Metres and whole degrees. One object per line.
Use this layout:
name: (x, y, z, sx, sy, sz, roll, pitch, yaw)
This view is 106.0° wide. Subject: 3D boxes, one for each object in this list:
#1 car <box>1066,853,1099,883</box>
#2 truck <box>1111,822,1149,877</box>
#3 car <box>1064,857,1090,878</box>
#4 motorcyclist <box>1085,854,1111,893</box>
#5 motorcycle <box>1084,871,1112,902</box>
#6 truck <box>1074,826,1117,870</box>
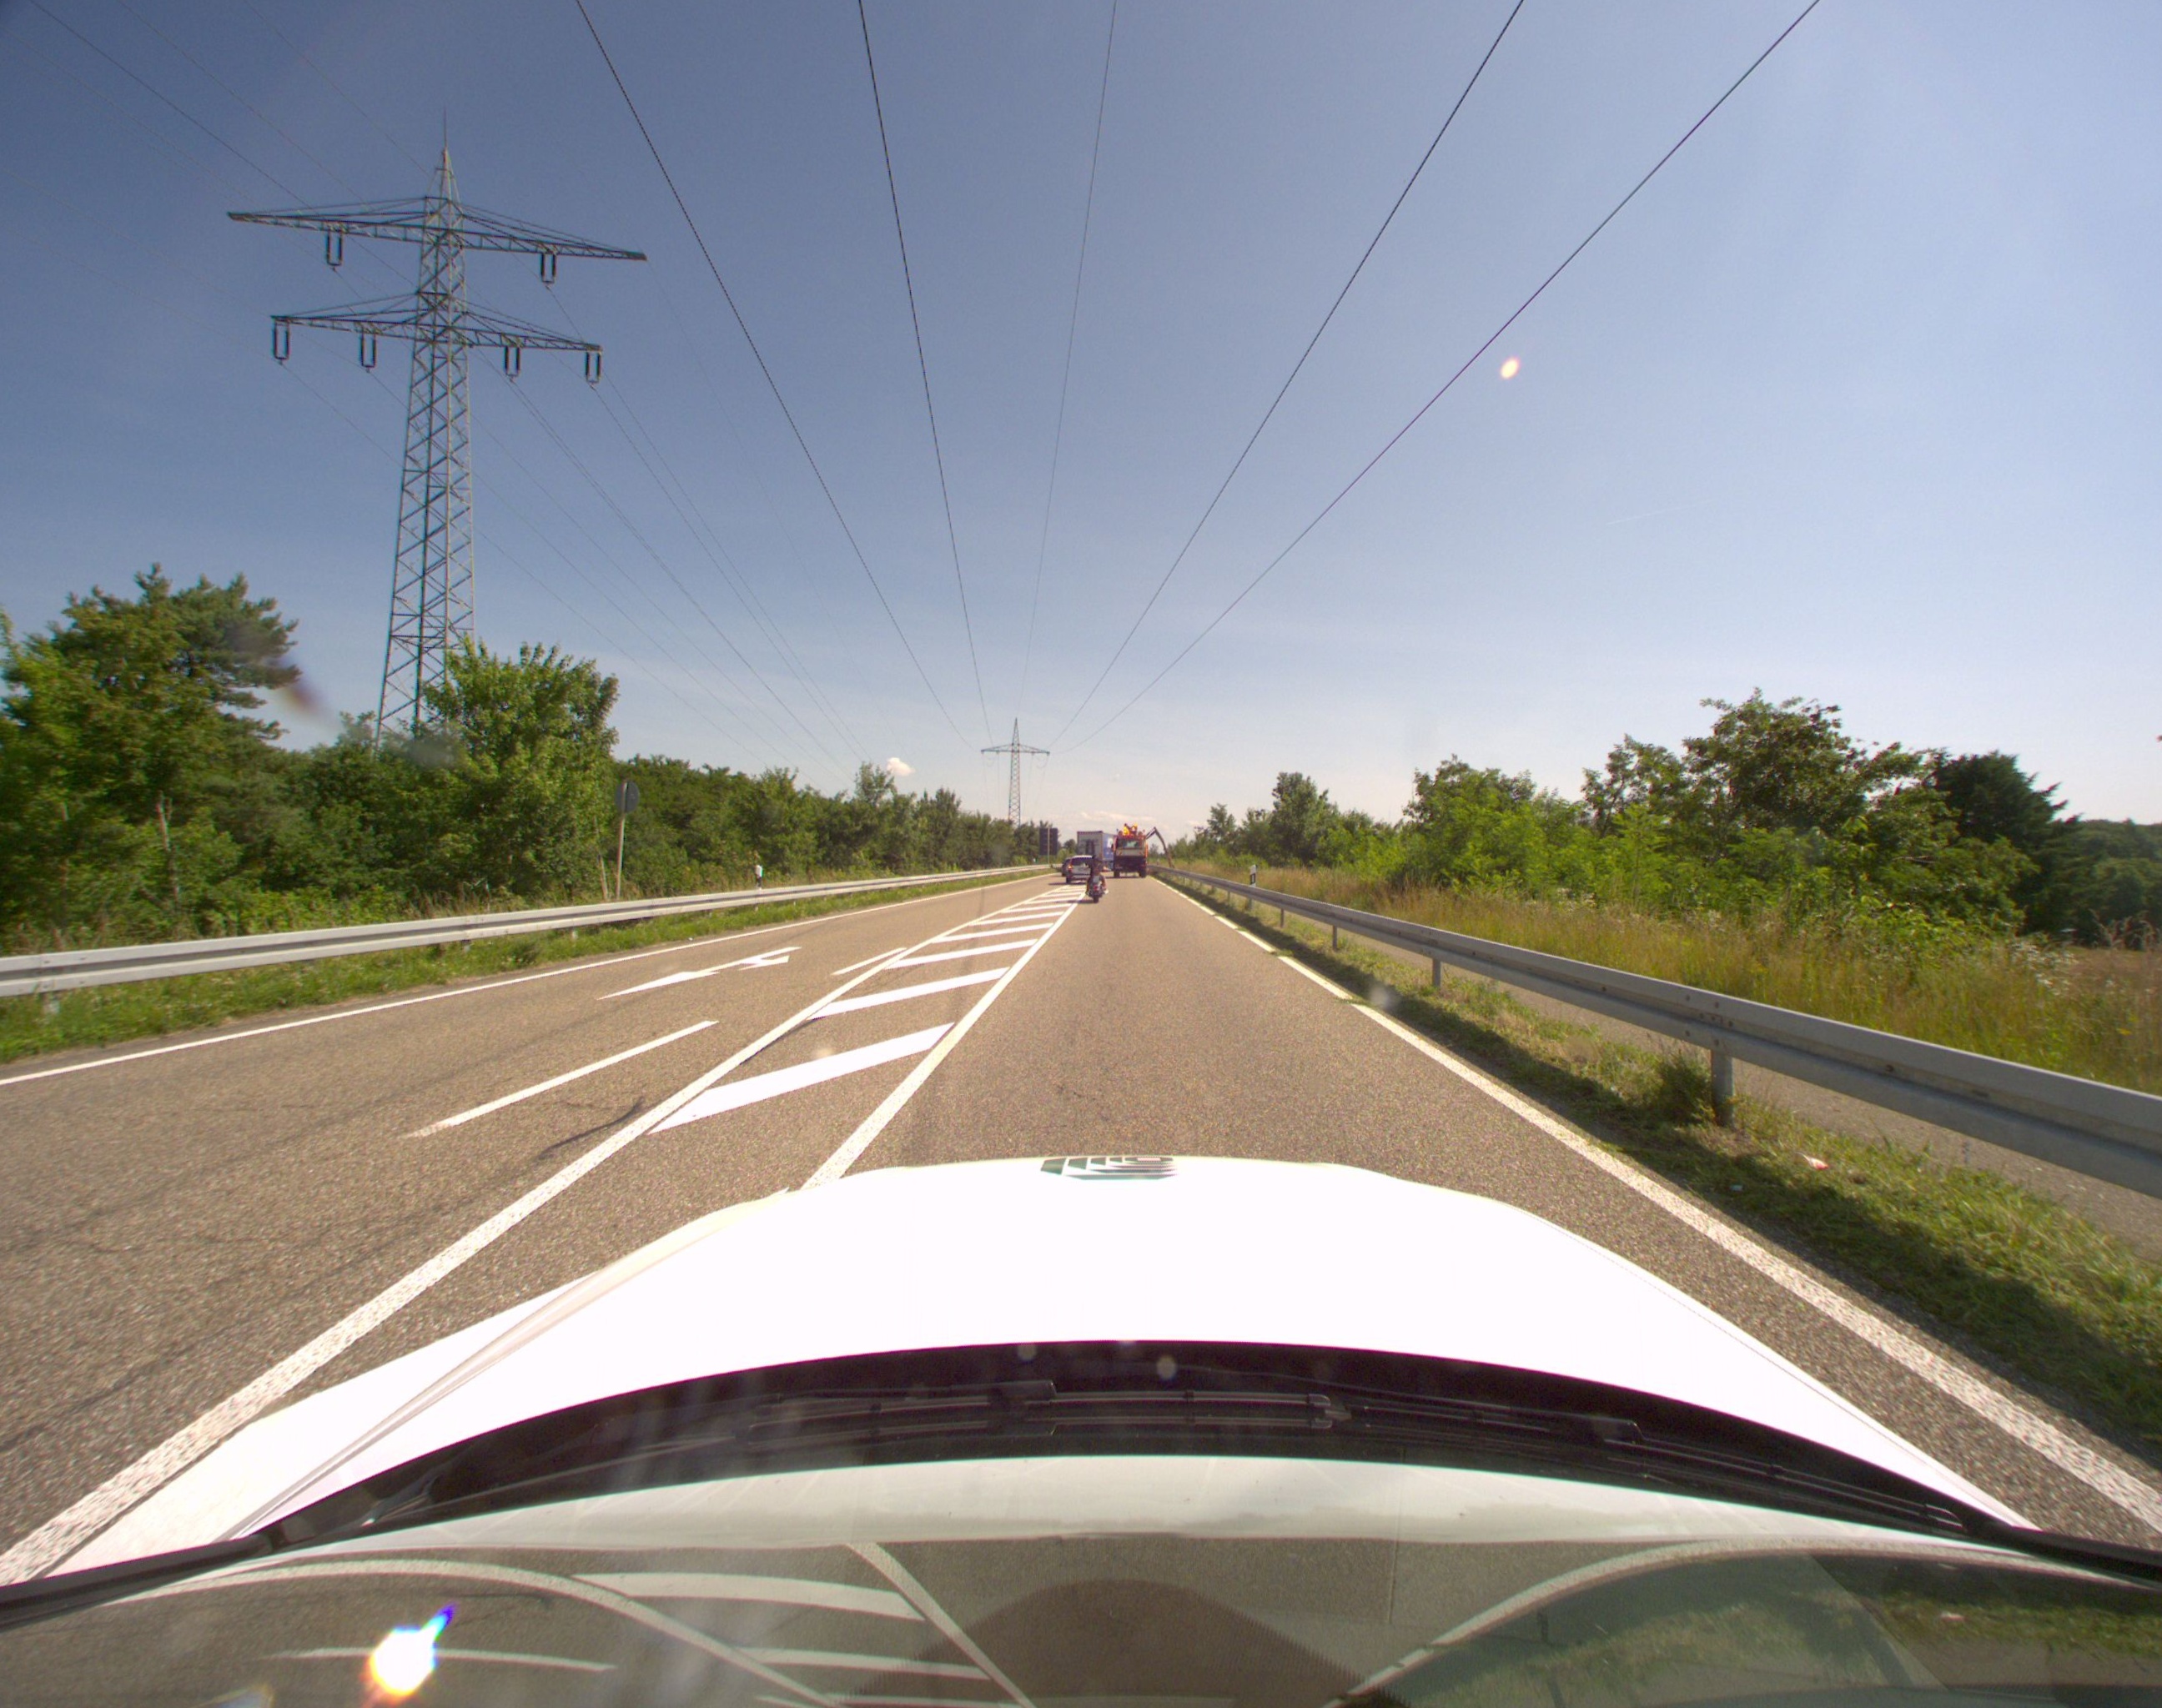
car: (0.058, 0.743, 44.453, 1.696, 1.536, 3.497, 0, 0, -1)
truck: (3.520, -0.318, 58.663, 2.603, 3.711, 6.783, 0, 0, 3)
car: (-0.273, 1.014, 61.564, 1.848, 1.489, 3.742, 0, 0, 2)
motorcyclist: (0.563, 0.637, 26.931, 0.834, 1.280, 0.919, 0, 0, 1)
motorcycle: (0.551, 1.053, 26.600, 0.856, 0.915, 2.228, -1, 0, 1)
truck: (1.704, -0.589, 86.444, 2.952, 4.187, 14.851, 0, 0, 7)
